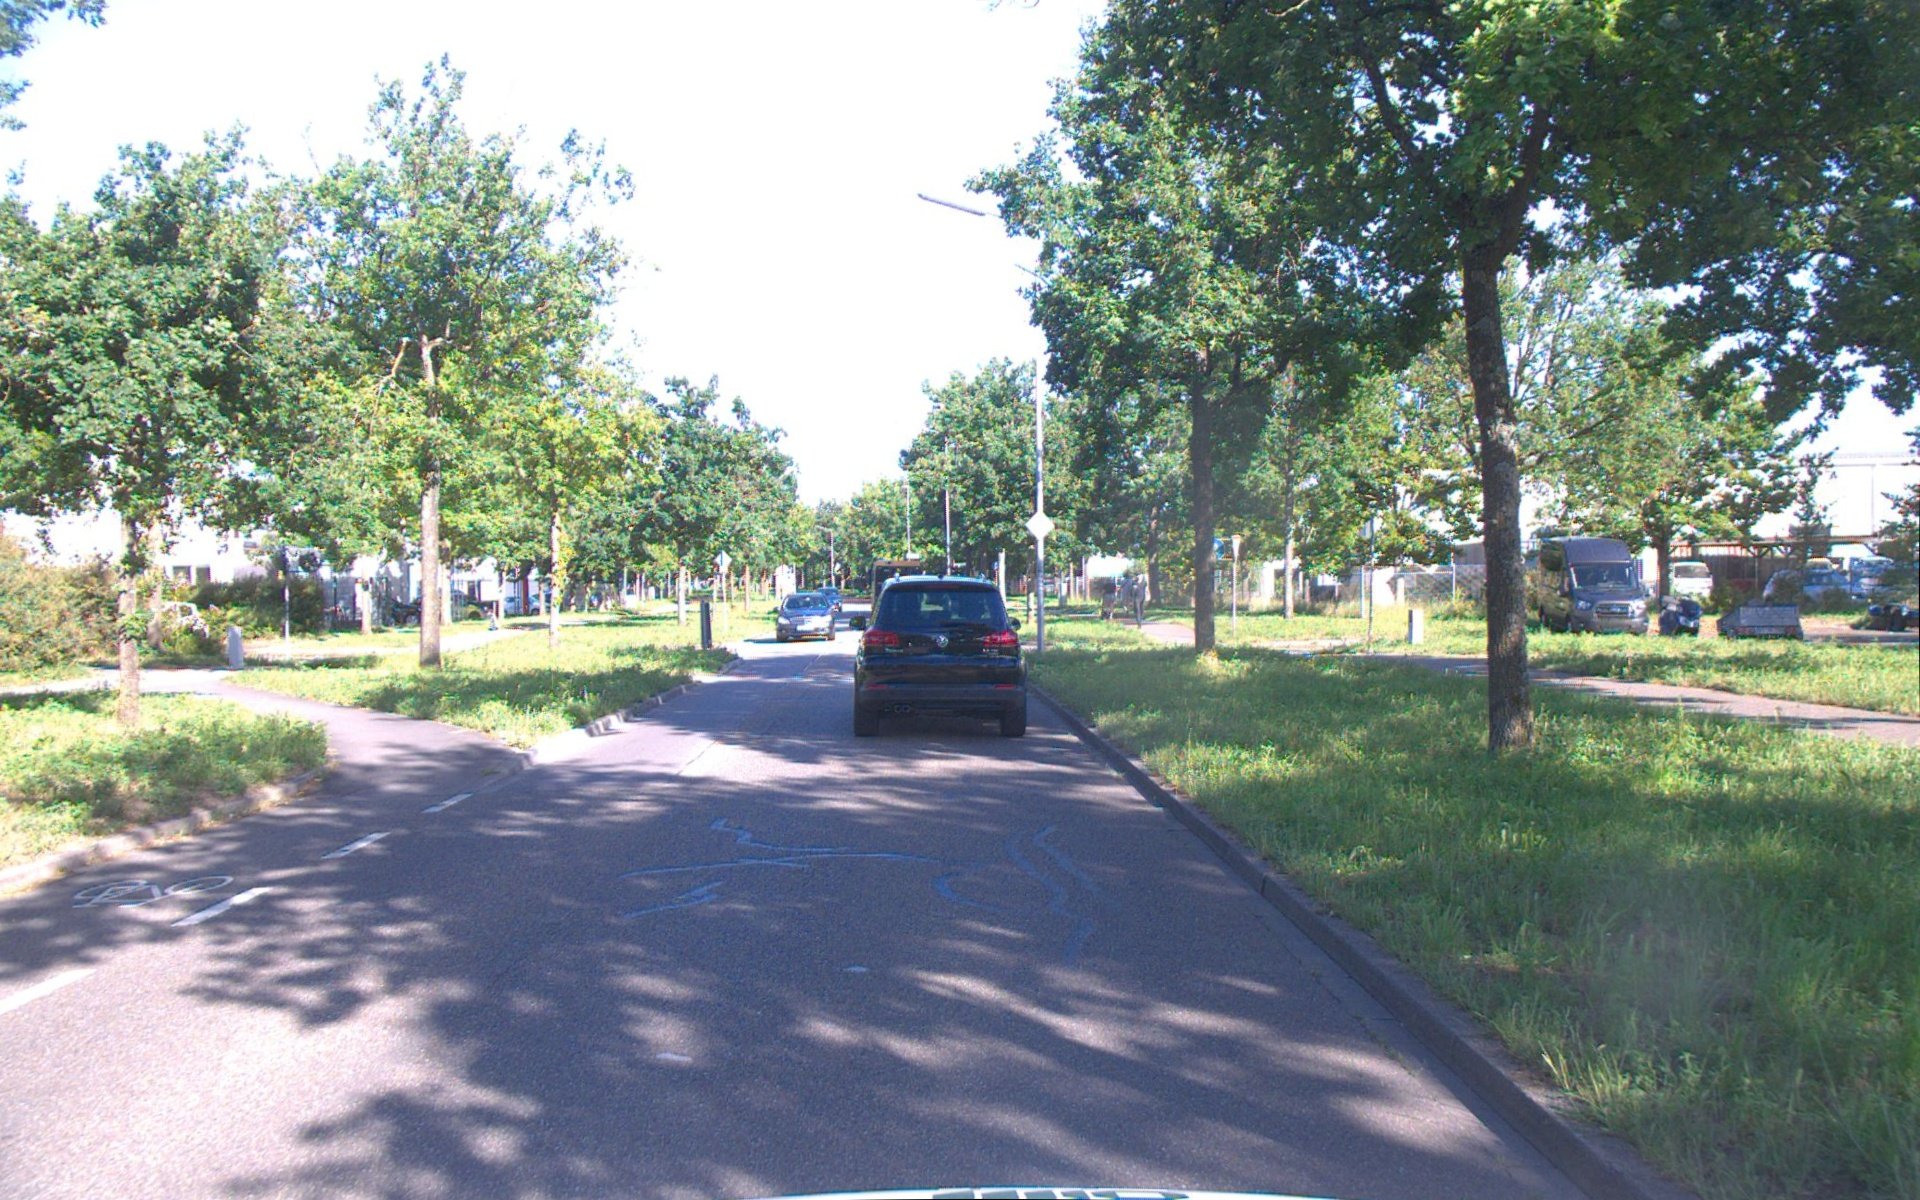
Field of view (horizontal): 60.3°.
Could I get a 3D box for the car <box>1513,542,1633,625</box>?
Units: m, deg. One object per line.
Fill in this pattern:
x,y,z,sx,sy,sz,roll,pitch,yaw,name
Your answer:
21.120,-0.575,57.235,2.117,2.689,4.848,-1,1,-3,car

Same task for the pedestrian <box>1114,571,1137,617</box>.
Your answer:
6.612,-0.235,65.960,0.711,1.785,0.867,-3,0,-3,pedestrian

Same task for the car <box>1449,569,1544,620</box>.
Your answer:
18.571,-0.206,57.360,1.965,1.693,3.595,-1,1,-3,car

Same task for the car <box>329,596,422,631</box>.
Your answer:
-27.978,0.632,79.191,3.950,1.537,1.781,-2,2,-33,car

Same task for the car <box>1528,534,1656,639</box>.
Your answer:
17.489,-0.470,46.083,2.040,2.610,5.979,1,3,8,car

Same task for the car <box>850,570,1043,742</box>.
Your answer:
-0.256,0.521,18.531,1.897,1.685,4.424,0,1,-3,car

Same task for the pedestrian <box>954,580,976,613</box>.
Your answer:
0.257,-0.189,84.145,0.999,1.680,1.099,-1,0,-4,pedestrian

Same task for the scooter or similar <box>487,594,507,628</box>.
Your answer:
-17.806,0.408,63.598,0.387,1.301,1.440,-1,0,-2,scooter or similar

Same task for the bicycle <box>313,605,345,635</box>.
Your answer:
-24.392,0.747,63.958,0.626,1.106,1.890,-1,1,-4,bicycle

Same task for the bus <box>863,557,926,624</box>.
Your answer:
-3.809,-0.592,93.448,2.711,3.517,11.195,-1,1,-6,bus

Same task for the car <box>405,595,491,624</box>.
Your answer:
-27.380,0.480,88.452,1.967,1.426,3.925,-1,1,45,car

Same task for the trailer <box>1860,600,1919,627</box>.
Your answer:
26.938,0.356,45.652,2.180,0.662,4.826,-1,0,9,trailer

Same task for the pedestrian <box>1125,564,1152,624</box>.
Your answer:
5.641,-0.188,52.284,0.711,1.843,0.867,-1,3,-4,pedestrian

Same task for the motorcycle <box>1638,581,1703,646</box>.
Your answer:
15.310,0.312,35.676,0.648,1.253,2.408,-1,-4,8,motorcycle

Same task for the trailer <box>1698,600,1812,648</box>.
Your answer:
16.199,0.506,33.777,1.545,0.883,2.055,-1,-4,9,trailer

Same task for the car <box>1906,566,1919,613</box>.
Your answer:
33.521,-0.367,55.112,1.951,1.620,4.002,-1,1,4,car

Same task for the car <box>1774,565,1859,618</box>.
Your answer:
28.433,-0.308,55.005,1.796,1.668,4.002,-1,1,18,car

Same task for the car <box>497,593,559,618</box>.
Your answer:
-29.836,0.357,114.279,3.662,1.646,1.965,-1,0,11,car

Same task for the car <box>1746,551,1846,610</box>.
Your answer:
33.160,-0.830,65.747,2.040,2.097,5.019,1,3,8,car

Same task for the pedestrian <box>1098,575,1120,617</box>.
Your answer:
5.837,-0.166,64.971,0.711,1.631,0.867,-1,0,-4,pedestrian

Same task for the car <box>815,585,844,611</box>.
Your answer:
-8.397,-0.138,106.958,1.769,1.563,4.492,-3,1,-4,car

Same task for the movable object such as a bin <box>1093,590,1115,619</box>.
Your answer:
5.734,0.161,65.845,0.711,1.100,0.867,-3,0,-4,movable object such as a bin

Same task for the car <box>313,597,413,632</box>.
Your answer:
-27.490,0.651,76.207,1.770,1.474,3.974,-1,1,43,car

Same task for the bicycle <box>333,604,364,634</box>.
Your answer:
-24.167,0.737,65.381,0.626,1.106,1.890,-1,1,-4,bicycle

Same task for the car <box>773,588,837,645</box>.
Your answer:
-4.703,0.467,50.541,1.730,1.555,4.492,-3,1,-3,car

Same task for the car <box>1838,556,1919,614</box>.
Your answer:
31.309,-0.510,55.308,1.951,1.855,4.002,-1,1,4,car

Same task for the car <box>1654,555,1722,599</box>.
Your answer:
28.884,-0.920,65.698,1.796,1.668,4.003,-1,0,14,car
